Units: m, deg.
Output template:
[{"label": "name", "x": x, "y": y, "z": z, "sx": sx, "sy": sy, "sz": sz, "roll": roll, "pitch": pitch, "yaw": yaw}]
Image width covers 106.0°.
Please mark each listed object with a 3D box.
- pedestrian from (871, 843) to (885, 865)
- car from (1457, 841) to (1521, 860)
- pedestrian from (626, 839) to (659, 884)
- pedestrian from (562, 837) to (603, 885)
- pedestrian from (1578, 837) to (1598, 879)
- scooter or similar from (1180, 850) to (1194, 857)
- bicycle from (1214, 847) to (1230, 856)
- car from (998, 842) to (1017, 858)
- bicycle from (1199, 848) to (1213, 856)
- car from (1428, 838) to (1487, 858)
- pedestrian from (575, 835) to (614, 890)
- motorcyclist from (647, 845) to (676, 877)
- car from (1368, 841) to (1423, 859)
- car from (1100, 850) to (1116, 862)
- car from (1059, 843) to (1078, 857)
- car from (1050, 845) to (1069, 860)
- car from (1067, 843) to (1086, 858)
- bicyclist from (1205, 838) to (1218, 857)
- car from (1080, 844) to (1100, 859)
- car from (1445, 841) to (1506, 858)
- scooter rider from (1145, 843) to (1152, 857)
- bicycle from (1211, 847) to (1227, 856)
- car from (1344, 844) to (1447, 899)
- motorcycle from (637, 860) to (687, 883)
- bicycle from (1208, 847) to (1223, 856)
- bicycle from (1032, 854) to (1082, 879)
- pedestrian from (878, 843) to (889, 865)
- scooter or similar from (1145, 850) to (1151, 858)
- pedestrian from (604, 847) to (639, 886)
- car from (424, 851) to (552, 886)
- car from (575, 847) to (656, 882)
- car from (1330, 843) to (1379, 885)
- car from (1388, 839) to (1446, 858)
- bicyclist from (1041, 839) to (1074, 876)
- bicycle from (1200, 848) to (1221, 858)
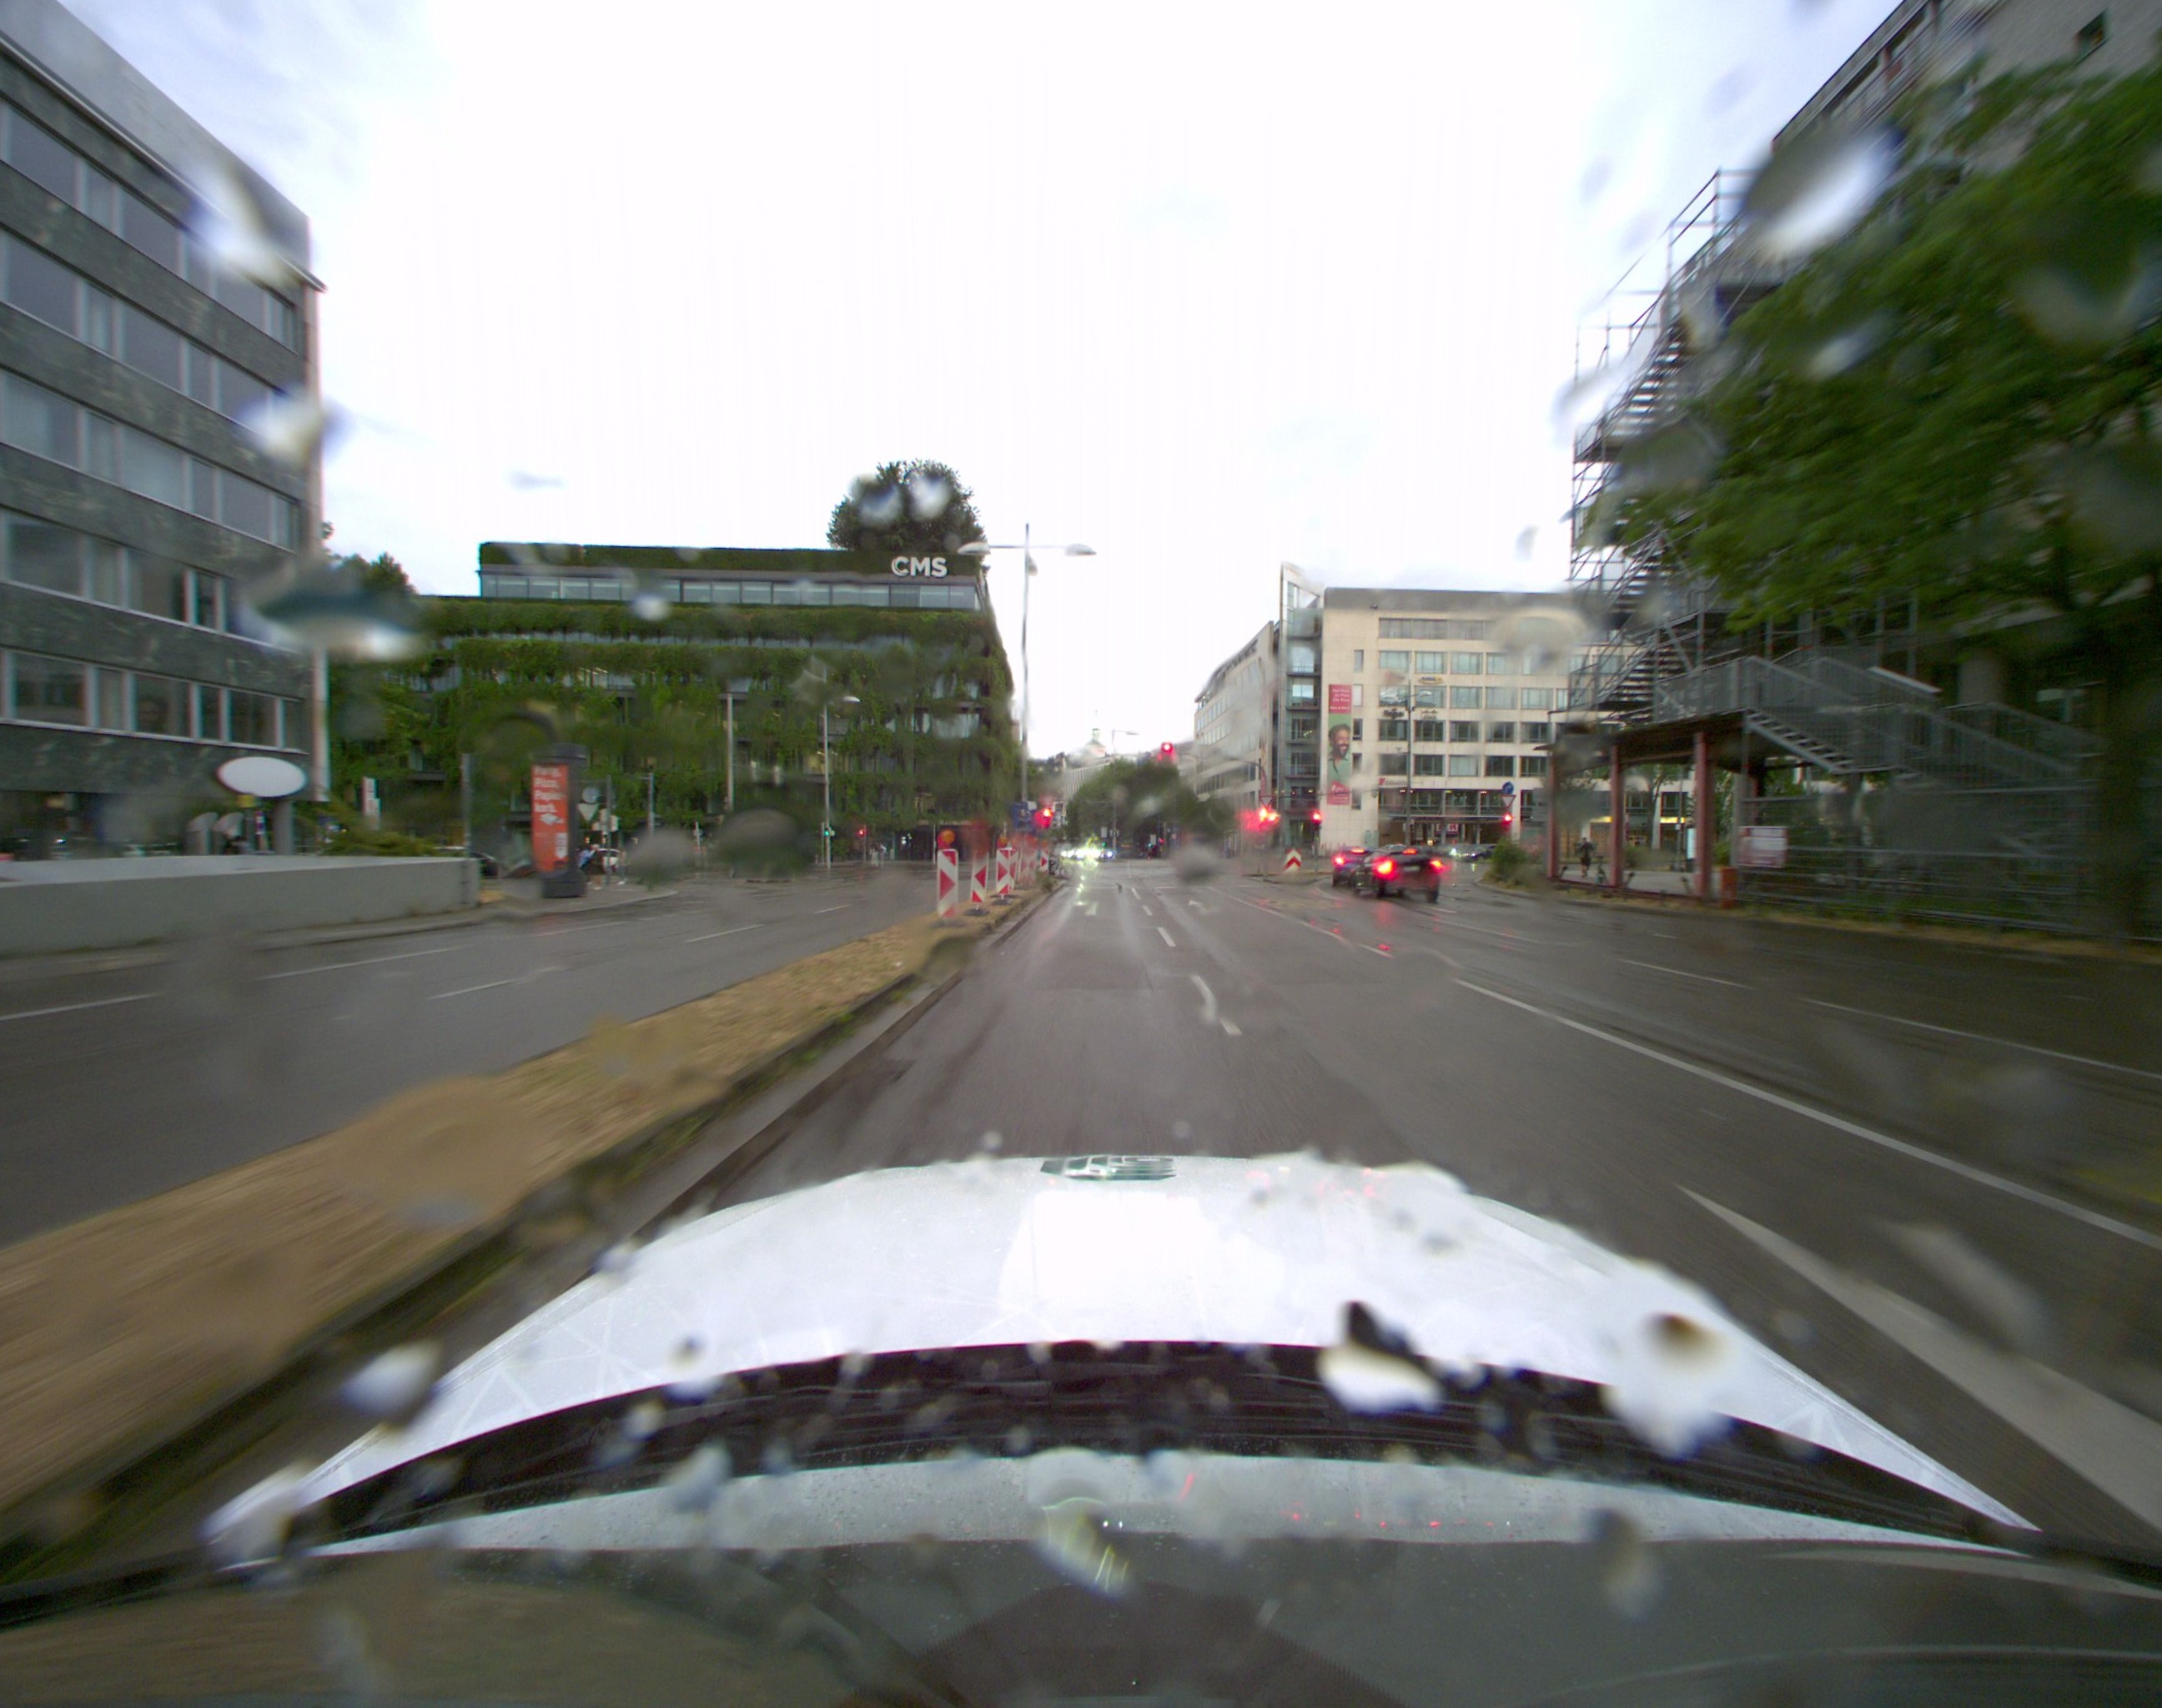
[{"label": "pedestrian", "x": -16.677, "y": -0.028, "z": 66.883, "sx": 0.939, "sy": 1.758, "sz": 1.163, "roll": -1, "pitch": 0, "yaw": -22}, {"label": "car", "x": 32.041, "y": -0.296, "z": 63.984, "sx": 4.452, "sy": 1.464, "sz": 1.716, "roll": 0, "pitch": 1, "yaw": -11}, {"label": "pedestrian", "x": -18.870, "y": 0.305, "z": 35.053, "sx": 0.781, "sy": 1.885, "sz": 0.898, "roll": -4, "pitch": 1, "yaw": 1}, {"label": "pedestrian", "x": -20.490, "y": 0.279, "z": 33.498, "sx": 1.019, "sy": 1.854, "sz": 0.876, "roll": -4, "pitch": 1, "yaw": -3}, {"label": "pedestrian", "x": 23.200, "y": 0.177, "z": 37.265, "sx": 0.673, "sy": 1.852, "sz": 1.062, "roll": -1, "pitch": 0, "yaw": 27}, {"label": "scooter or similar", "x": 13.954, "y": -0.051, "z": 107.461, "sx": 1.750, "sy": 0.878, "sz": 0.486, "roll": -1, "pitch": 0, "yaw": -18}, {"label": "bicycle", "x": 15.952, "y": -0.283, "z": 92.377, "sx": 1.778, "sy": 0.934, "sz": 0.478, "roll": 0, "pitch": 1, "yaw": 43}, {"label": "car", "x": -8.718, "y": -0.506, "z": 96.462, "sx": 1.989, "sy": 1.894, "sz": 4.461, "roll": 0, "pitch": 1, "yaw": -2}, {"label": "bicycle", "x": 15.387, "y": -0.287, "z": 100.286, "sx": 1.786, "sy": 0.934, "sz": 0.476, "roll": 0, "pitch": 0, "yaw": 4}, {"label": "car", "x": 32.623, "y": -0.530, "z": 70.586, "sx": 4.455, "sy": 1.598, "sz": 1.991, "roll": 0, "pitch": 1, "yaw": -13}, {"label": "pedestrian", "x": -17.365, "y": 0.303, "z": 29.081, "sx": 0.805, "sy": 1.885, "sz": 0.863, "roll": -4, "pitch": 1, "yaw": -10}, {"label": "motorcyclist", "x": -22.631, "y": 0.369, "z": 43.961, "sx": 1.187, "sy": 1.703, "sz": 0.844, "roll": 0, "pitch": 0, "yaw": -15}, {"label": "car", "x": 29.547, "y": -0.404, "z": 76.533, "sx": 4.455, "sy": 1.598, "sz": 1.991, "roll": 0, "pitch": 1, "yaw": -13}, {"label": "car", "x": 3.648, "y": 0.266, "z": 111.293, "sx": 1.988, "sy": 1.443, "sz": 4.554, "roll": -1, "pitch": 2, "yaw": -1}, {"label": "car", "x": -1.411, "y": -0.465, "z": 92.323, "sx": 1.853, "sy": 1.448, "sz": 4.614, "roll": -1, "pitch": 1, "yaw": -4}, {"label": "car", "x": -2.320, "y": -0.155, "z": 85.904, "sx": 1.852, "sy": 1.448, "sz": 4.616, "roll": -1, "pitch": 1, "yaw": -3}, {"label": "car", "x": -0.608, "y": -0.410, "z": 103.201, "sx": 2.171, "sy": 1.823, "sz": 4.637, "roll": 0, "pitch": 1, "yaw": -4}, {"label": "bicyclist", "x": 13.923, "y": -0.674, "z": 86.967, "sx": 0.798, "sy": 1.975, "sz": 1.101, "roll": 0, "pitch": 0, "yaw": -39}, {"label": "car", "x": 0.895, "y": -0.288, "z": 83.519, "sx": 1.987, "sy": 1.550, "sz": 4.554, "roll": 0, "pitch": 1, "yaw": -1}, {"label": "car", "x": 32.378, "y": -0.376, "z": 66.869, "sx": 4.455, "sy": 1.348, "sz": 1.715, "roll": 0, "pitch": 1, "yaw": -13}, {"label": "scooter rider", "x": 8.779, "y": -0.559, "z": 106.308, "sx": 0.761, "sy": 1.774, "sz": 0.794, "roll": -1, "pitch": 0, "yaw": -5}, {"label": "bicycle", "x": 15.822, "y": -0.286, "z": 93.347, "sx": 1.778, "sy": 0.934, "sz": 0.478, "roll": 0, "pitch": 1, "yaw": 43}, {"label": "car", "x": 9.422, "y": 0.460, "z": 24.731, "sx": 1.770, "sy": 1.540, "sz": 4.151, "roll": 0, "pitch": 1, "yaw": 4}, {"label": "motorcycle", "x": -22.612, "y": 0.932, "z": 43.968, "sx": 2.231, "sy": 1.210, "sz": 0.844, "roll": -1, "pitch": 0, "yaw": -15}, {"label": "bicycle", "x": 15.161, "y": -0.270, "z": 91.755, "sx": 1.778, "sy": 0.934, "sz": 0.478, "roll": 0, "pitch": 1, "yaw": 43}, {"label": "bicycle", "x": -1.127, "y": 0.571, "z": 37.985, "sx": 2.156, "sy": 1.103, "sz": 0.841, "roll": -1, "pitch": 1, "yaw": -26}, {"label": "pedestrian", "x": -16.268, "y": 0.010, "z": 67.048, "sx": 0.744, "sy": 1.758, "sz": 0.969, "roll": -1, "pitch": 0, "yaw": -22}, {"label": "scooter or similar", "x": 8.728, "y": -0.002, "z": 106.305, "sx": 0.555, "sy": 1.007, "sz": 1.821, "roll": -1, "pitch": 0, "yaw": -5}, {"label": "pedestrian", "x": -19.896, "y": 0.531, "z": 35.279, "sx": 0.828, "sy": 1.585, "sz": 0.923, "roll": -4, "pitch": 1, "yaw": 2}, {"label": "car", "x": -30.018, "y": 0.693, "z": 41.390, "sx": 4.805, "sy": 1.652, "sz": 1.963, "roll": 0, "pitch": 1, "yaw": -12}, {"label": "car", "x": -26.238, "y": 0.566, "z": 45.998, "sx": 3.450, "sy": 1.922, "sz": 1.993, "roll": 0, "pitch": 0, "yaw": -11}, {"label": "car", "x": 10.603, "y": 0.331, "z": 31.818, "sx": 1.690, "sy": 1.529, "sz": 4.447, "roll": 0, "pitch": 1, "yaw": 17}, {"label": "car", "x": 30.159, "y": -0.517, "z": 73.067, "sx": 4.451, "sy": 1.598, "sz": 1.993, "roll": 0, "pitch": 1, "yaw": -10}, {"label": "bicyclist", "x": -1.096, "y": 0.150, "z": 38.021, "sx": 1.301, "sy": 1.704, "sz": 0.841, "roll": -1, "pitch": 0, "yaw": -26}, {"label": "bicycle", "x": 13.827, "y": -0.118, "z": 87.068, "sx": 0.798, "sy": 1.117, "sz": 2.230, "roll": 0, "pitch": 1, "yaw": -39}]
